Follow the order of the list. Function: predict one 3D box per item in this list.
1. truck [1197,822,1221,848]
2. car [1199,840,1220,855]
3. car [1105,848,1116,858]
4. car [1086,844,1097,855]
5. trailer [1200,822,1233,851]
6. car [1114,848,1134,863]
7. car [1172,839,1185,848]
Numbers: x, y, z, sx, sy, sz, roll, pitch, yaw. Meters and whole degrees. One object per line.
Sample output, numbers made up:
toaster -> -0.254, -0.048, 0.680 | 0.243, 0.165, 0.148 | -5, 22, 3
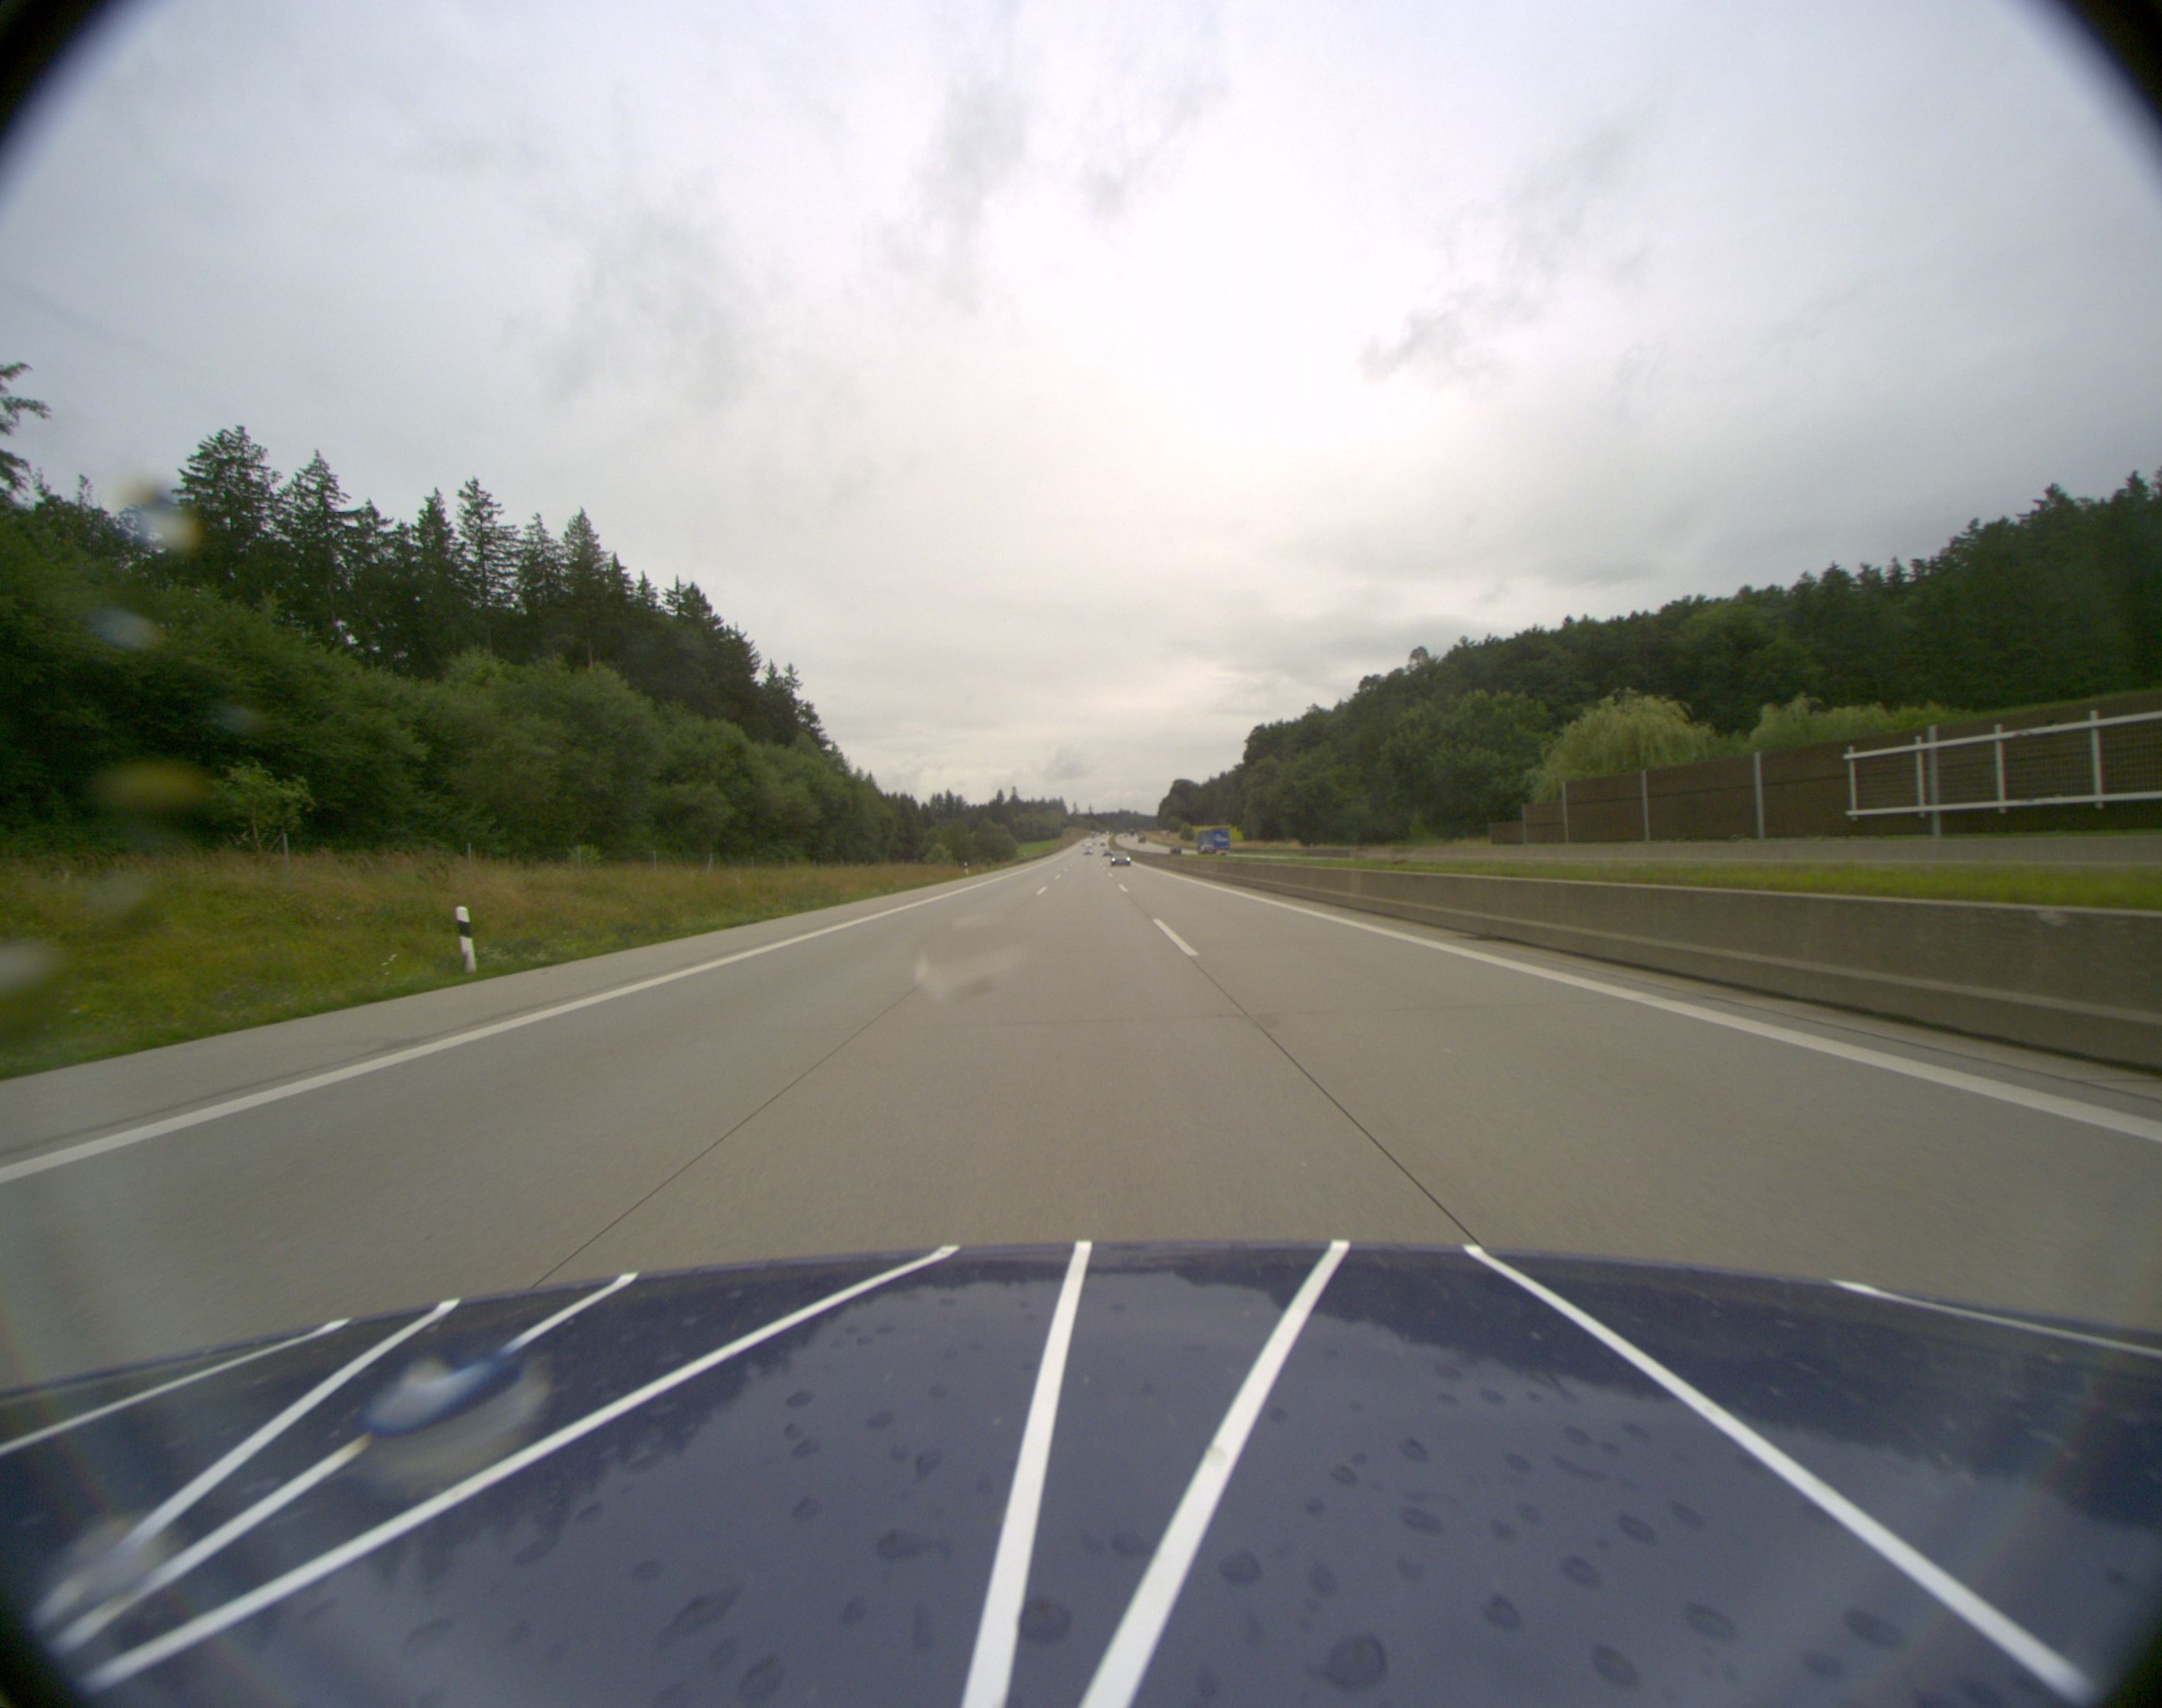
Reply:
truck -> 21.169, -3.185, 125.849 | 2.698, 4.165, 6.208 | -3, 2, 1
car -> 16.500, -0.852, 97.703 | 1.821, 1.757, 4.731 | -3, 1, 0
car -> 5.574, -0.284, 143.226 | 1.773, 1.783, 4.000 | -2, 0, 1
car -> 2.314, -0.994, 162.683 | 2.213, 2.002, 4.833 | -3, 1, 1
trailer -> 21.092, -2.925, 119.050 | 2.717, 4.185, 13.787 | -3, 3, 1
car -> 4.311, 0.135, 76.454 | 1.766, 1.455, 4.000 | -2, 0, 1
car -> 17.090, -1.834, 133.511 | 1.641, 1.492, 4.516 | -3, 2, 0
